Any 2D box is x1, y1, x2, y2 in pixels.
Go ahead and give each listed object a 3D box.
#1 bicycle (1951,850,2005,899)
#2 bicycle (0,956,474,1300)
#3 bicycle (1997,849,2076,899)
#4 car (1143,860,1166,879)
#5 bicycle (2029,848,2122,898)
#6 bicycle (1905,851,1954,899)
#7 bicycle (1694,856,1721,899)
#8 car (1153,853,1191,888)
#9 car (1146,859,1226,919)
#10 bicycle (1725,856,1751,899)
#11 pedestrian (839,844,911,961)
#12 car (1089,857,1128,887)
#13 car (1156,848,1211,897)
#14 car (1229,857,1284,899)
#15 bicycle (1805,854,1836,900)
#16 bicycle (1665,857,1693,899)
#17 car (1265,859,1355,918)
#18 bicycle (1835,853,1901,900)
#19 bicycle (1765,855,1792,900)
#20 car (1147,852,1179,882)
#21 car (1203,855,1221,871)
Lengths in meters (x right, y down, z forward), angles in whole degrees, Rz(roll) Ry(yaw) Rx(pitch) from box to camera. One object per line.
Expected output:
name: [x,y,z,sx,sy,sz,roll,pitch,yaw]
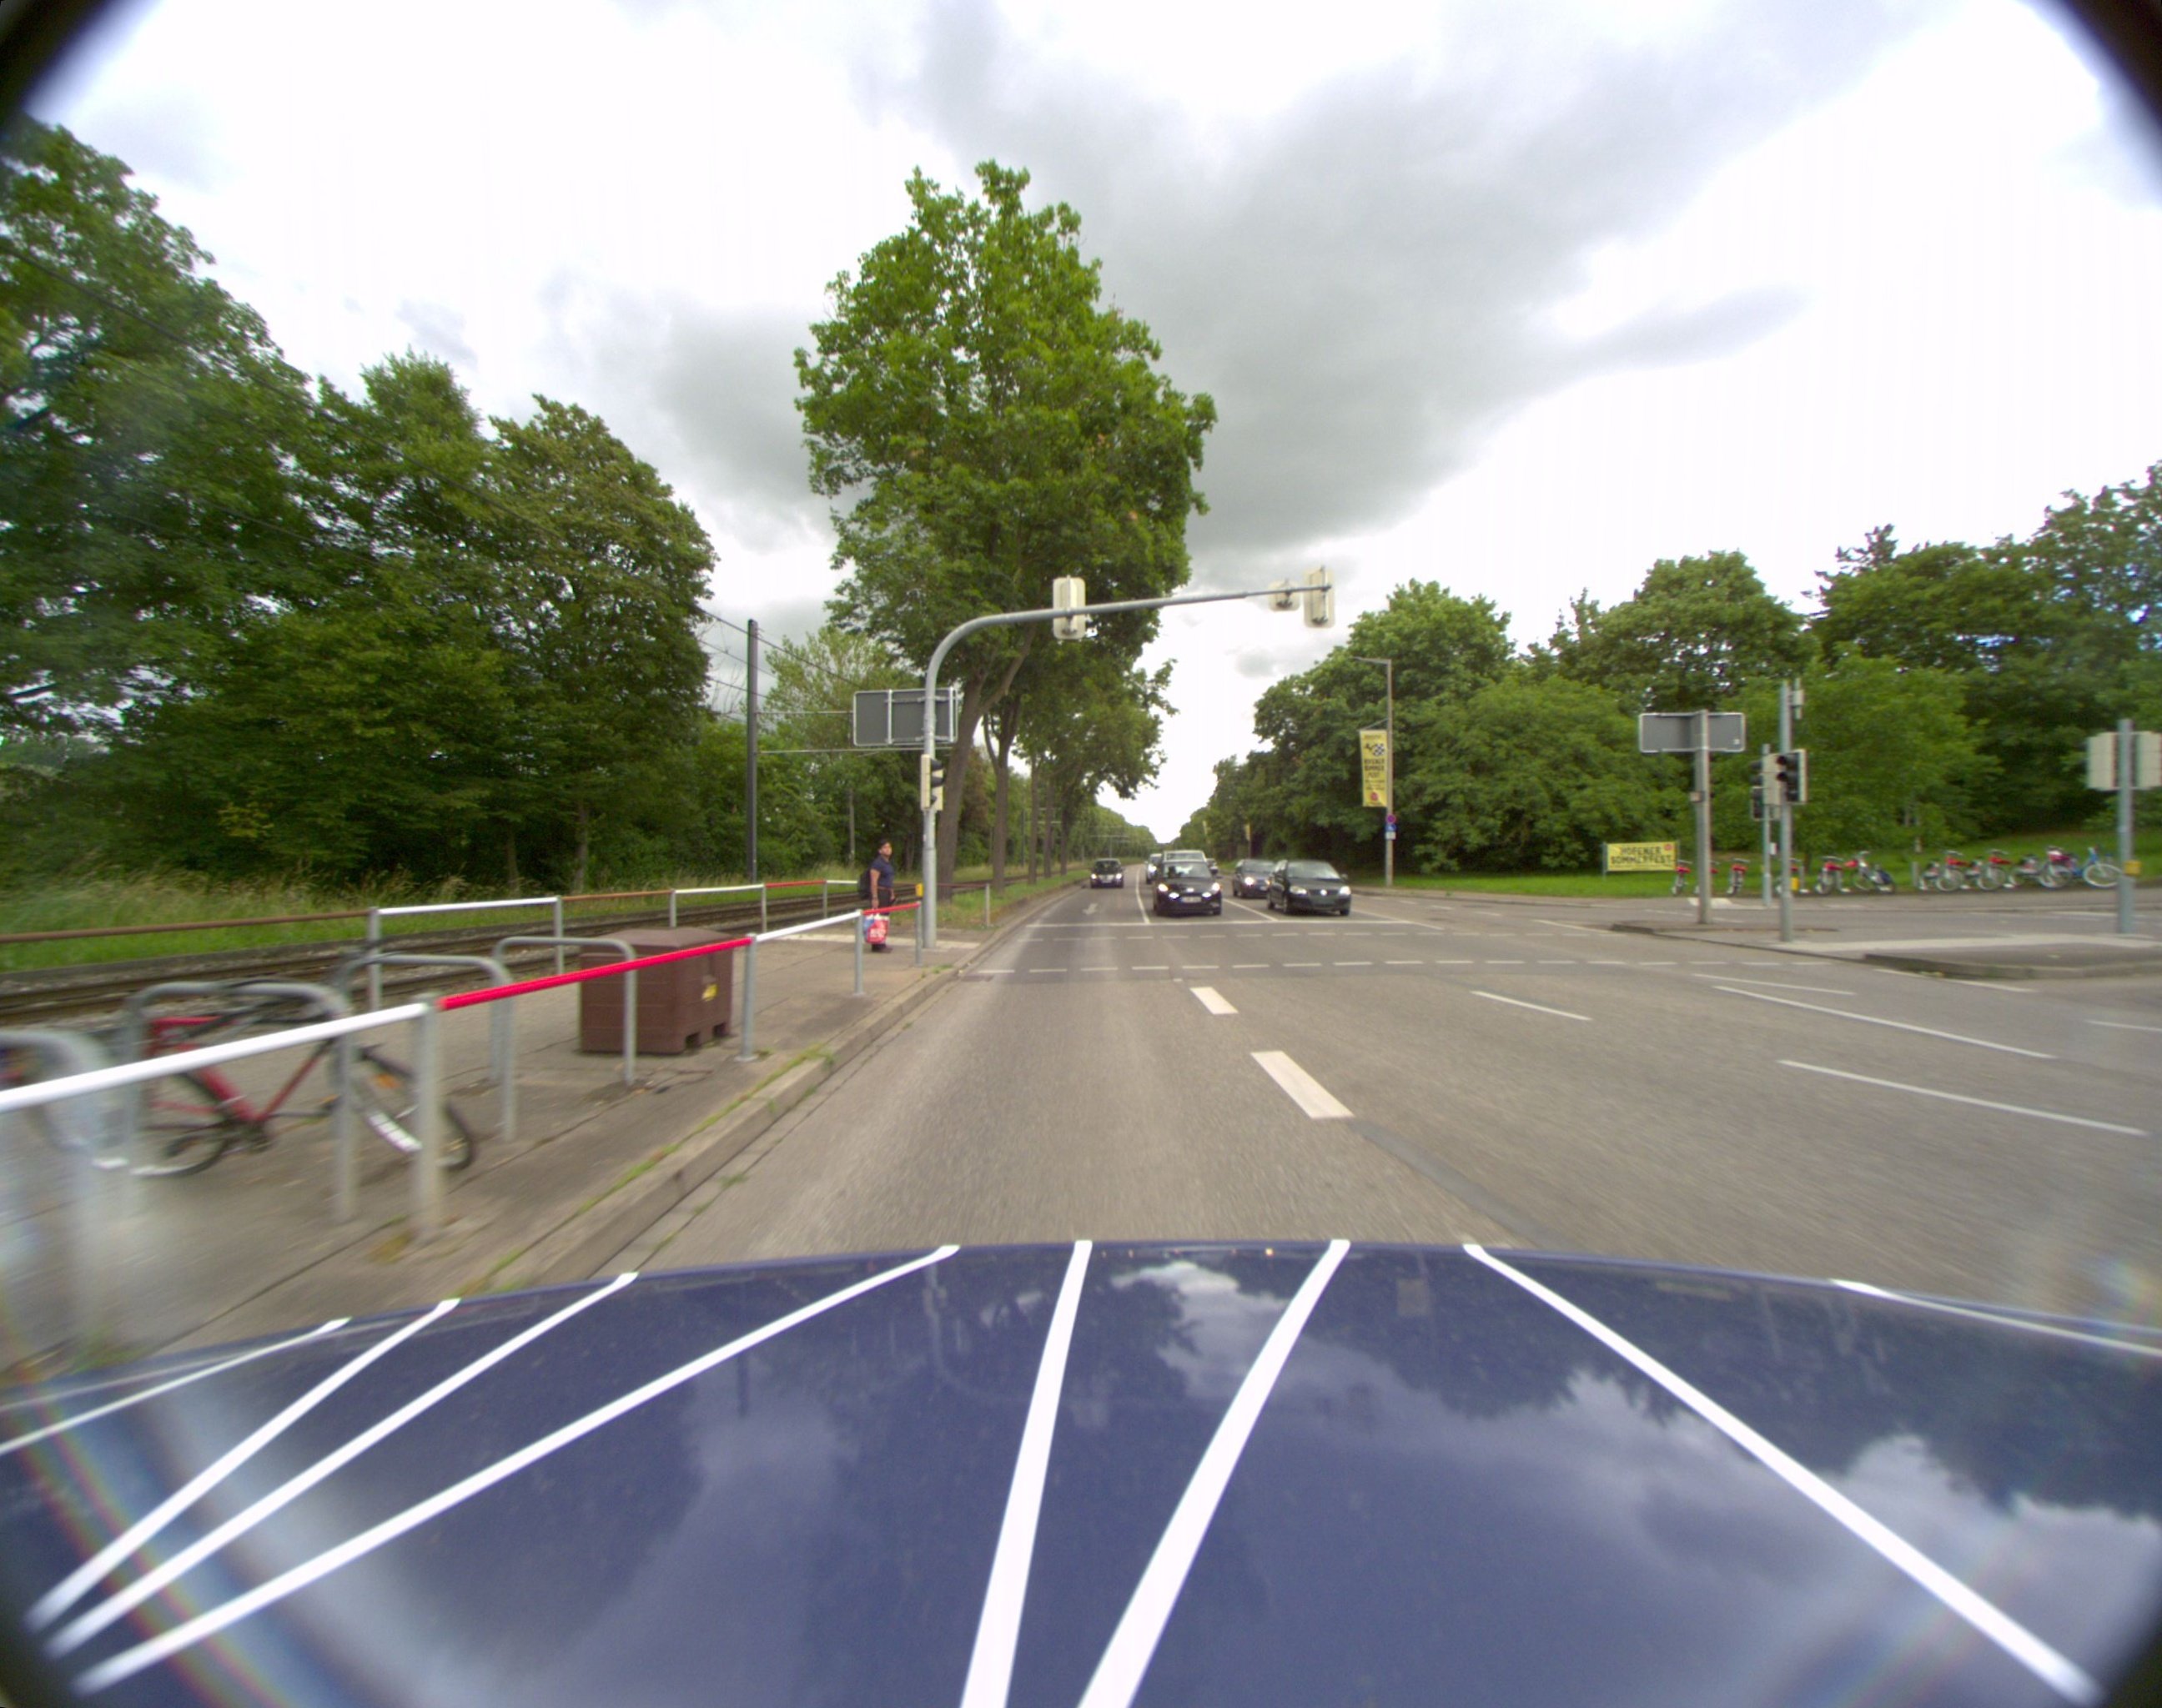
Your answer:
bicycle: [24.514,0.544,20.802,0.544,1.245,1.939,-2,1,38]
bicycle: [-3.498,1.018,3.010,1.678,1.083,0.602,2,1,1]
bicycle: [25.572,0.503,20.381,0.544,1.245,1.938,-2,0,27]
car: [5.302,1.074,54.661,1.558,1.259,3.824,-1,0,5]
bicycle: [26.215,0.478,20.070,0.544,1.245,1.938,-2,0,21]
bicycle: [23.670,0.576,21.225,0.544,1.245,1.939,-2,1,38]
bicycle: [19.692,0.729,23.877,0.544,1.245,1.939,-2,0,42]
car: [4.673,0.849,39.463,1.755,1.708,4.336,0,0,4]
car: [2.797,0.892,20.926,1.708,1.472,3.667,-1,0,1]
bicycle: [20.334,0.704,23.502,0.544,1.245,1.939,-2,1,42]
pedestrian: [-3.203,0.732,11.863,0.753,1.727,0.840,2,1,9]
car: [1.561,0.953,41.986,1.807,1.520,3.930,-2,0,6]
car: [4.161,0.721,31.544,1.911,1.832,5.283,-1,0,4]
car: [6.643,0.866,29.083,1.595,1.459,3.931,1,0,6]
bicycle: [21.671,0.654,22.274,0.544,1.245,1.939,-2,1,42]
bicycle: [19.078,0.753,24.222,0.544,1.245,1.939,-2,1,42]
car: [6.075,0.858,20.568,1.559,1.458,3.809,0,0,4]
bicycle: [22.550,0.620,21.816,0.544,1.245,1.938,-2,0,21]
bicycle: [20.902,0.683,22.791,0.544,1.245,1.939,-2,1,42]
car: [5.102,0.778,47.831,1.807,1.784,4.504,-2,0,5]
car: [13.324,0.862,77.596,1.742,1.529,3.912,-2,0,9]
